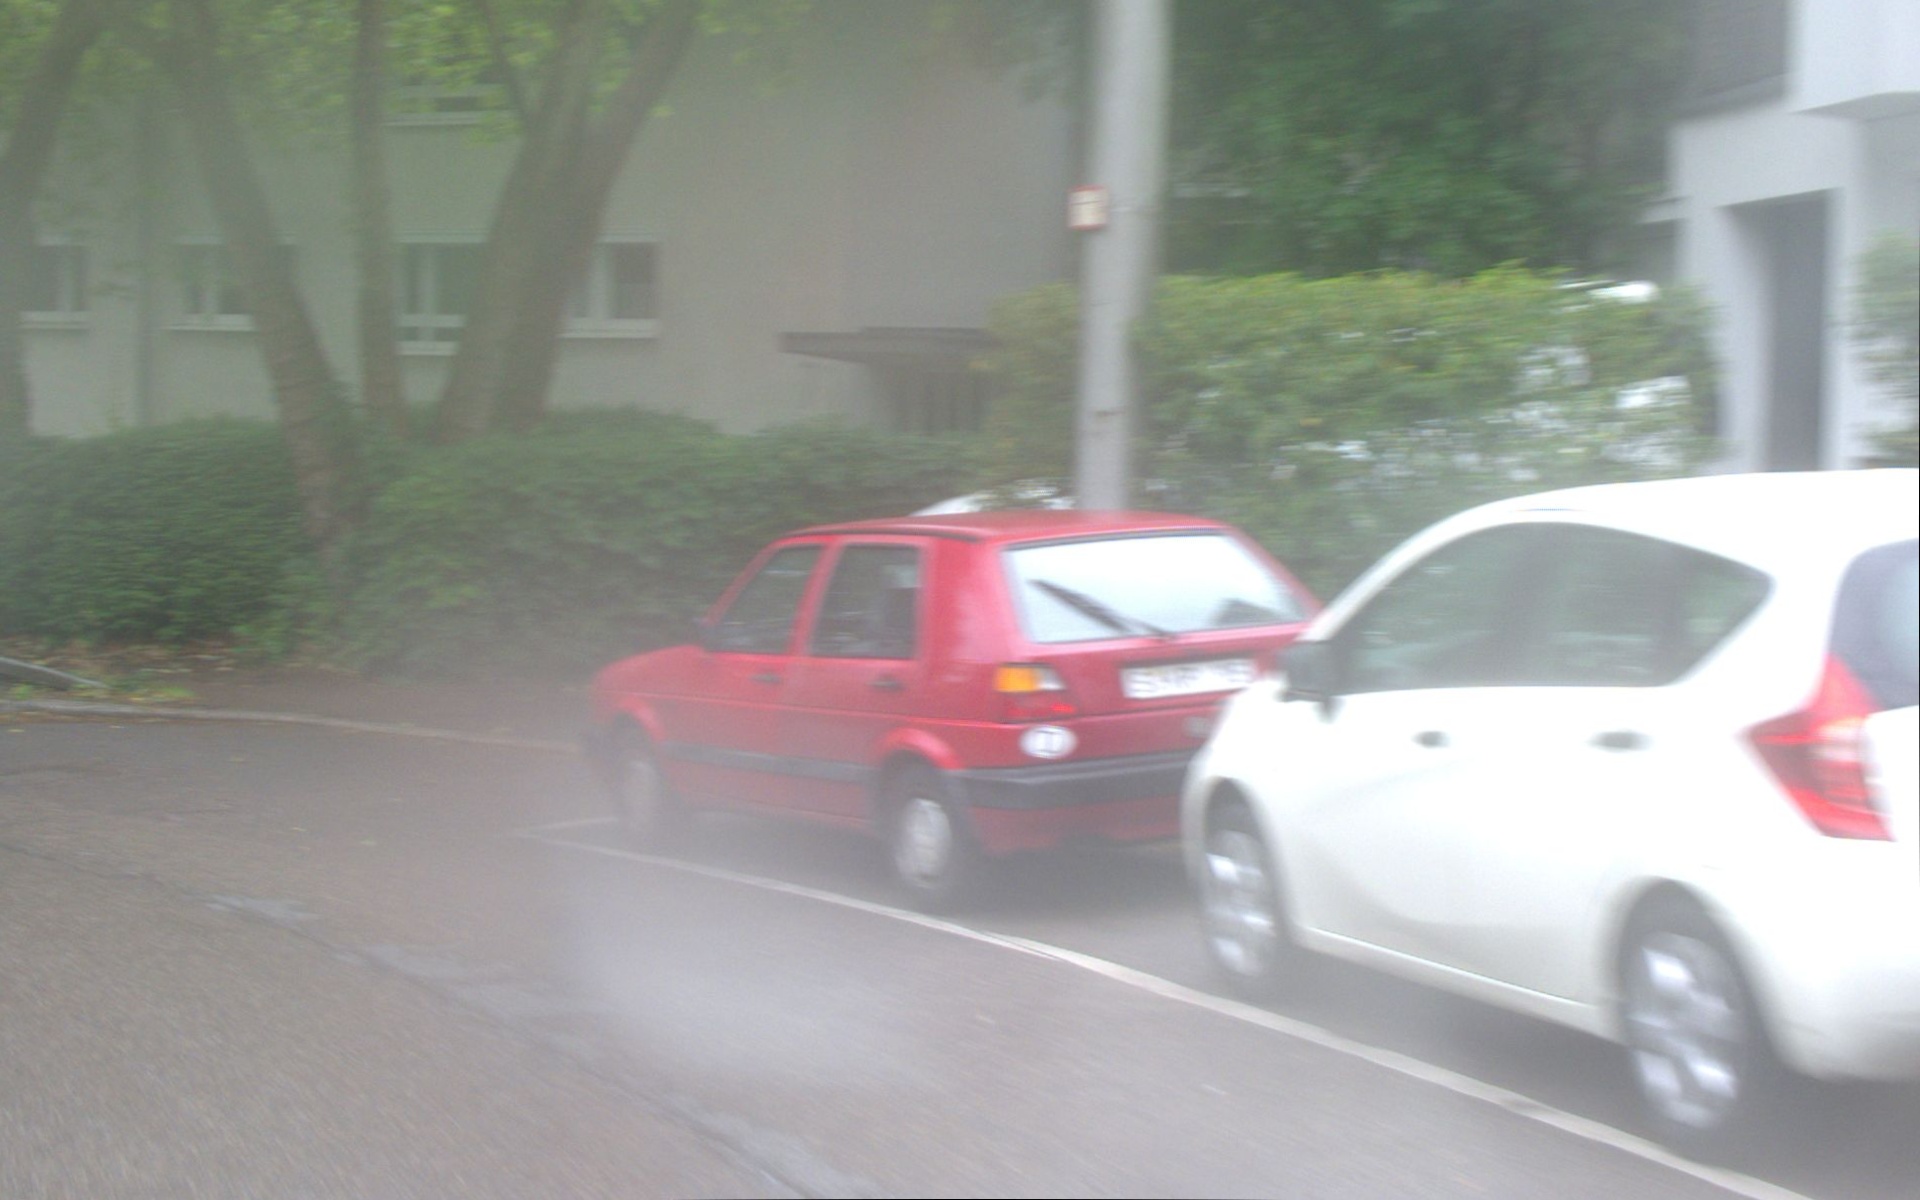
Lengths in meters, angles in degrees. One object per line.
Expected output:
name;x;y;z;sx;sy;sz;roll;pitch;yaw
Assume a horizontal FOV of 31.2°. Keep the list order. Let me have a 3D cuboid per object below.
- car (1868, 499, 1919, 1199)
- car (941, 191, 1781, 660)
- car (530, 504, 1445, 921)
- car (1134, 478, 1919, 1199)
car;3.153;0.569;4.509;1.913;1.533;4.416;-2;1;-13
car;2.227;-1.023;20.059;4.396;1.836;2.000;-10;3;0
car;-0.073;0.369;13.838;1.780;1.362;4.196;-2;1;-30
car;1.974;0.453;9.017;1.764;1.510;3.824;-2;2;-18
